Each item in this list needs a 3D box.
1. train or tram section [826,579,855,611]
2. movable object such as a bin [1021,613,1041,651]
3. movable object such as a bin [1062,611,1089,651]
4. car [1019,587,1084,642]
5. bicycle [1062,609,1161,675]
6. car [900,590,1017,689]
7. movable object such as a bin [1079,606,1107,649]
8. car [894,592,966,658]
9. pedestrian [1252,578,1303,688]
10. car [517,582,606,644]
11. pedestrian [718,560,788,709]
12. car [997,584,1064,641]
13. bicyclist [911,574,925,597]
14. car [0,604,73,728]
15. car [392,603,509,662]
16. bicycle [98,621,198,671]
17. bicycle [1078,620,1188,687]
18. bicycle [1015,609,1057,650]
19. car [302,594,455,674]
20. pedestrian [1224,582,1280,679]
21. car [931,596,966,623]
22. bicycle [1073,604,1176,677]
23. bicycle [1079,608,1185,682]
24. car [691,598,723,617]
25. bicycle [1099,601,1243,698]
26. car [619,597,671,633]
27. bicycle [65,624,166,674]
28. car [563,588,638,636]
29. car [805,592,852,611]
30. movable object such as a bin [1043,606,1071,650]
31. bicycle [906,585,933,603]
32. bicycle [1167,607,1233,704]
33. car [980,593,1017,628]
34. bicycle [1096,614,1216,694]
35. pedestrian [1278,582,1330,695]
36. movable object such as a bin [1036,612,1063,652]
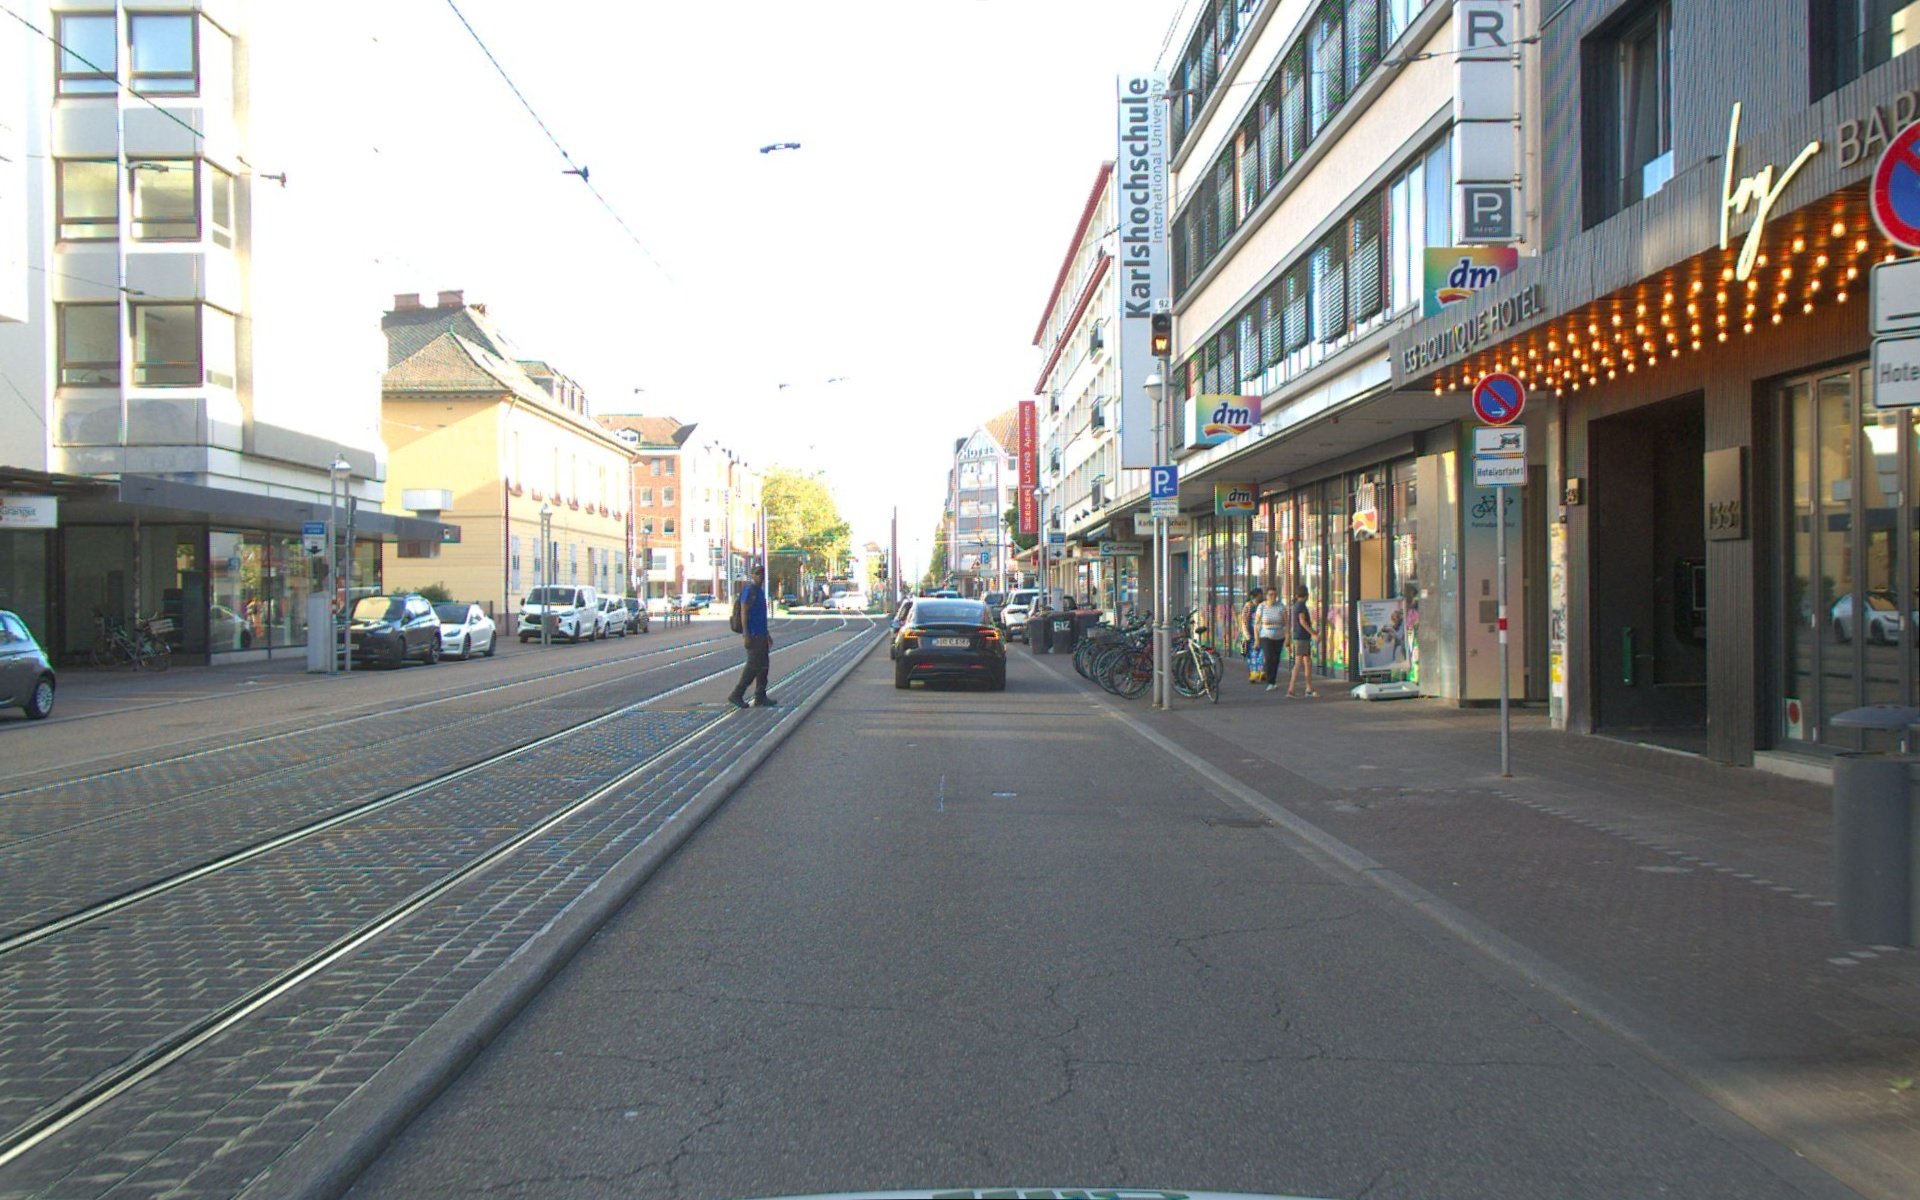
[{"bbox_3d":[-14.572,-0.587,202.902,2.620,3.780,14.190,1,0,-1],"label":"train or tram section"},{"bbox_3d":[1.846,0.832,43.056,0.477,0.975,0.458,-2,0,2],"label":"movable object such as a bin"},{"bbox_3d":[3.044,0.815,43.673,0.644,1.032,0.636,-1,0,1],"label":"movable object such as a bin"},{"bbox_3d":[2.719,0.430,49.705,1.581,1.555,4.069,-1,0,-2],"label":"car"},{"bbox_3d":[2.823,0.777,30.910,1.751,1.179,0.669,-1,0,-2],"label":"bicycle"},{"bbox_3d":[-0.095,0.624,27.765,1.812,1.510,3.785,1,0,-2],"label":"car"},{"bbox_3d":[3.450,0.710,42.849,0.676,1.108,0.666,-2,0,2],"label":"movable object such as a bin"},{"bbox_3d":[-0.694,0.552,39.540,1.620,1.443,4.000,1,1,0],"label":"car"},{"bbox_3d":[4.788,0.485,24.951,0.570,1.613,0.597,-3,0,-3],"label":"pedestrian"},{"bbox_3d":[-13.853,0.447,57.779,1.953,2.009,5.095,1,0,-2],"label":"car"},{"bbox_3d":[-2.674,0.436,21.438,0.788,1.869,0.746,-2,0,-3],"label":"pedestrian"},{"bbox_3d":[2.295,0.406,54.939,1.812,1.754,5.191,-2,0,-2],"label":"car"},{"bbox_3d":[-2.824,-0.961,111.335,0.821,1.526,0.559,1,-1,-9],"label":"bicyclist"},{"bbox_3d":[-13.019,0.831,21.121,1.569,1.550,3.587,2,0,-4],"label":"car"},{"bbox_3d":[-13.649,0.834,44.558,1.850,1.446,4.654,1,0,-2],"label":"car"},{"bbox_3d":[-17.380,0.983,35.413,1.897,1.016,0.423,1,0,-1],"label":"bicycle"},{"bbox_3d":[2.888,0.884,27.654,1.737,1.050,0.596,-1,0,-2],"label":"bicycle"},{"bbox_3d":[2.104,0.809,45.828,1.108,1.098,0.319,-2,0,-3],"label":"bicycle"},{"bbox_3d":[-13.487,0.750,38.689,1.938,1.708,4.654,1,0,-1],"label":"car"},{"bbox_3d":[4.687,0.489,26.530,0.576,1.512,0.591,-2,0,-32],"label":"pedestrian"},{"bbox_3d":[-0.720,0.561,97.282,1.748,1.545,4.214,1,0,-4],"label":"car"},{"bbox_3d":[2.951,0.722,29.776,1.751,1.238,0.669,-1,0,-2],"label":"bicycle"},{"bbox_3d":[3.010,0.788,29.025,1.751,1.238,0.587,-1,0,-2],"label":"bicycle"},{"bbox_3d":[-20.587,0.589,134.630,1.864,1.489,4.000,1,0,0],"label":"car"},{"bbox_3d":[3.133,0.722,24.553,2.000,1.296,0.523,-3,0,-11],"label":"bicycle"},{"bbox_3d":[-13.302,0.617,70.034,1.581,1.425,3.719,1,0,-2],"label":"car"},{"bbox_3d":[-17.833,1.032,34.952,1.897,1.016,0.380,1,-1,-1],"label":"bicycle"},{"bbox_3d":[-13.895,0.455,64.124,1.770,1.715,4.649,1,0,1],"label":"car"},{"bbox_3d":[-12.033,0.131,151.368,3.934,1.707,1.986,-1,0,-24],"label":"car"},{"bbox_3d":[2.518,0.713,42.921,0.676,1.108,0.686,-2,0,2],"label":"movable object such as a bin"},{"bbox_3d":[-2.729,-0.397,111.333,1.696,1.107,0.677,2,0,-9],"label":"bicycle"},{"bbox_3d":[3.351,0.755,23.207,0.570,1.279,1.601,-3,0,-3],"label":"bicycle"},{"bbox_3d":[1.907,0.511,82.688,1.710,1.660,3.648,-2,0,-1],"label":"car"},{"bbox_3d":[3.001,0.817,25.341,1.739,1.150,0.478,-1,0,-7],"label":"bicycle"},{"bbox_3d":[4.768,0.529,22.967,0.513,1.519,0.583,-3,0,-3],"label":"pedestrian"},{"bbox_3d":[2.368,0.848,43.648,0.672,1.032,0.508,-1,0,1],"label":"movable object such as a bin"}]
